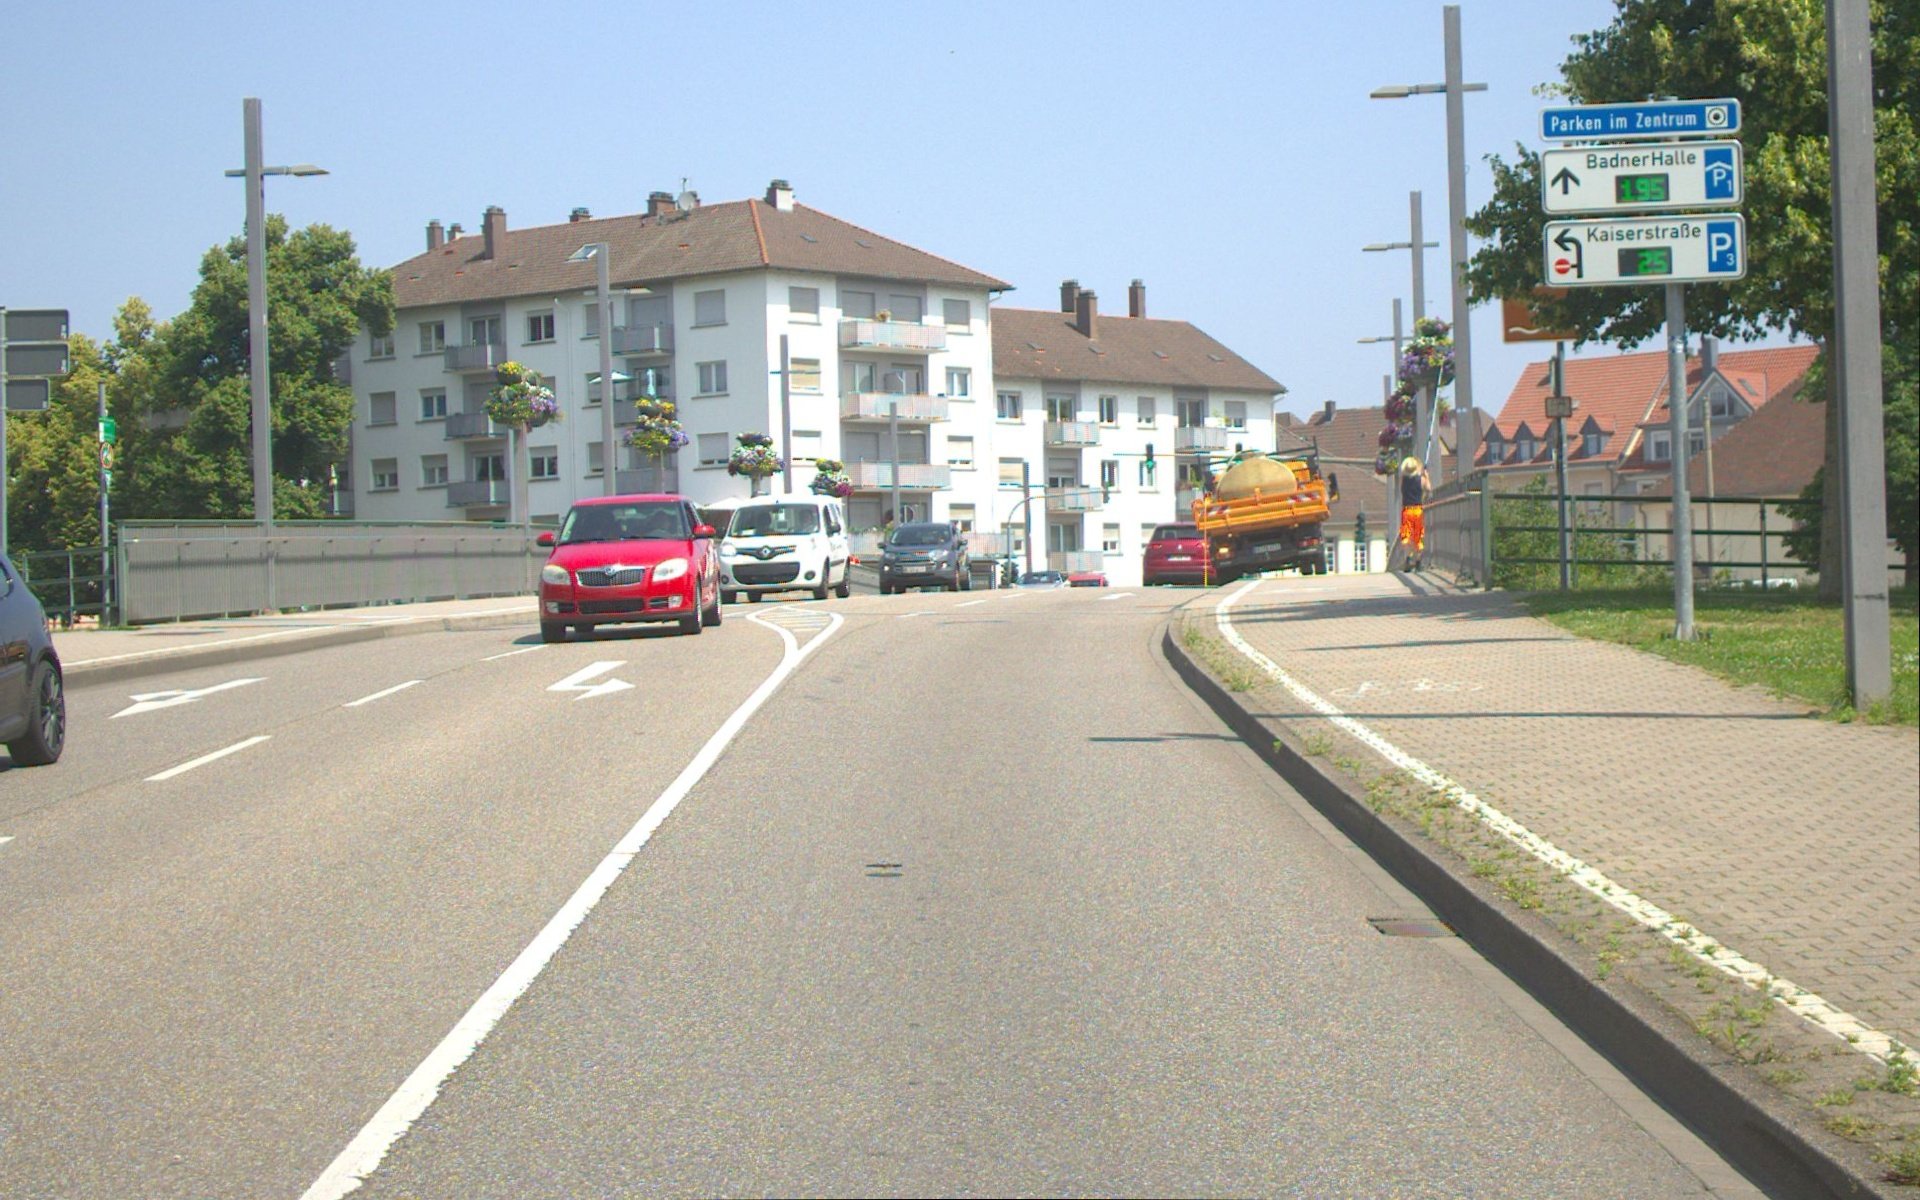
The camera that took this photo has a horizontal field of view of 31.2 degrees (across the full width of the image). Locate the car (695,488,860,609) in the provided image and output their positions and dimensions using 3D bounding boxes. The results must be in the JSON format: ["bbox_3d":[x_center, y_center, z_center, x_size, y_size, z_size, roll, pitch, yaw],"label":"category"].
[{"bbox_3d":[-2.997,-0.865,57.362,1.837,1.854,4.662,-3,1,8],"label":"car"}]

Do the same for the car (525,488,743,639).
[{"bbox_3d":[-3.377,-0.407,36.271,1.647,1.459,3.861,-2,1,4],"label":"car"}]

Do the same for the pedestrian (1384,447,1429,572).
[{"bbox_3d":[7.098,-1.438,54.646,0.546,1.953,0.673,-1,-1,-3],"label":"pedestrian"}]

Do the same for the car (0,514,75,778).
[{"bbox_3d":[-6.318,0.333,19.091,1.714,1.480,4.032,-4,2,-1],"label":"car"}]

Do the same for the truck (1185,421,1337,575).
[{"bbox_3d":[5.721,-1.850,64.667,2.606,2.682,5.821,-2,0,7],"label":"truck"}]

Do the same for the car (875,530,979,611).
[{"bbox_3d":[-0.719,-0.682,77.249,1.737,1.635,3.920,-4,1,7],"label":"car"}]

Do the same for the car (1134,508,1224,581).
[{"bbox_3d":[5.231,-1.292,81.693,1.990,1.607,4.342,-2,0,5],"label":"car"}]
